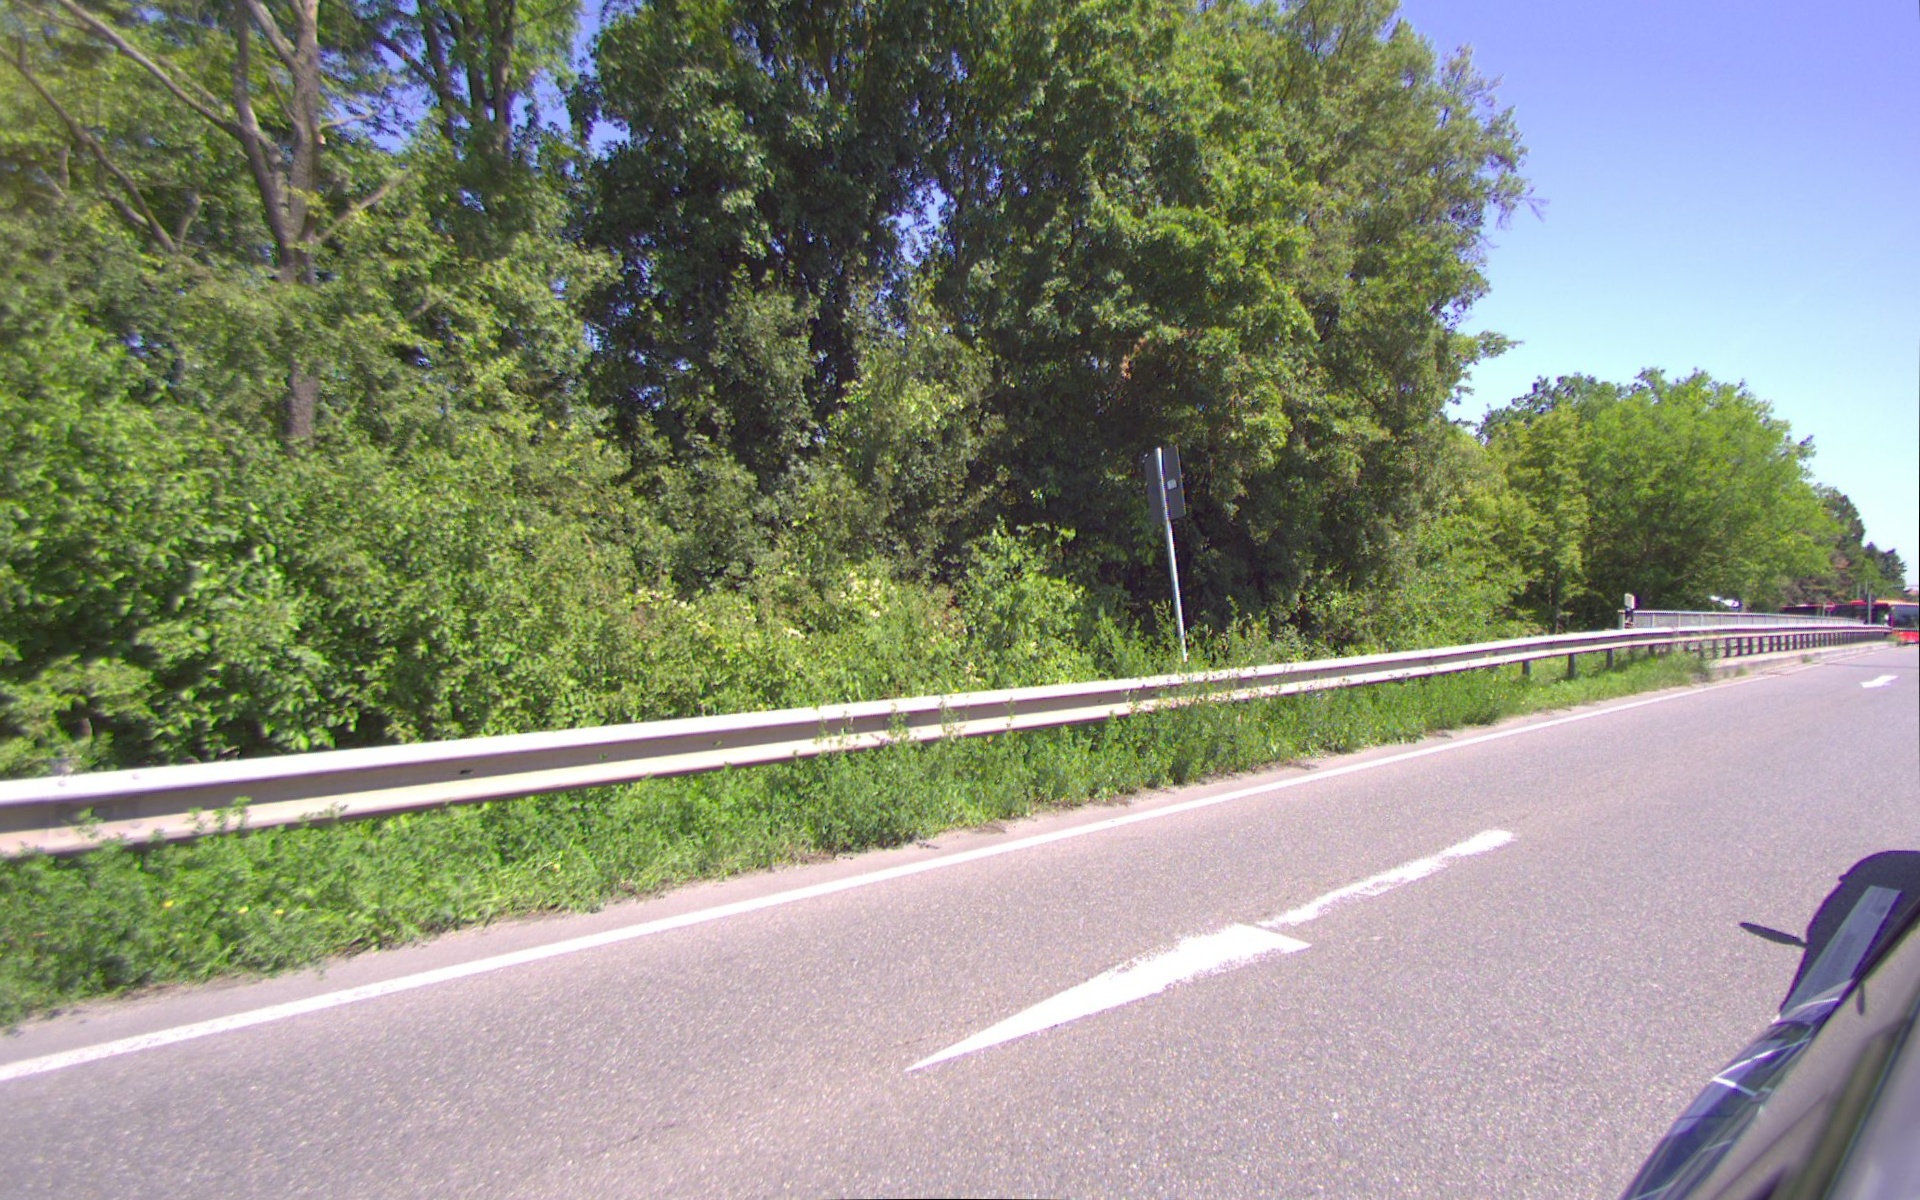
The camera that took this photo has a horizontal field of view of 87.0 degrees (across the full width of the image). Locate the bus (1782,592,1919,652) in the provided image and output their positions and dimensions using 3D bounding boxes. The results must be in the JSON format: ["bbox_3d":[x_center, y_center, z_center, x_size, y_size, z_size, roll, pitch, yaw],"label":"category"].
[{"bbox_3d":[63.445,1.405,71.242,2.821,3.708,12.397,1,1,9],"label":"bus"}]
